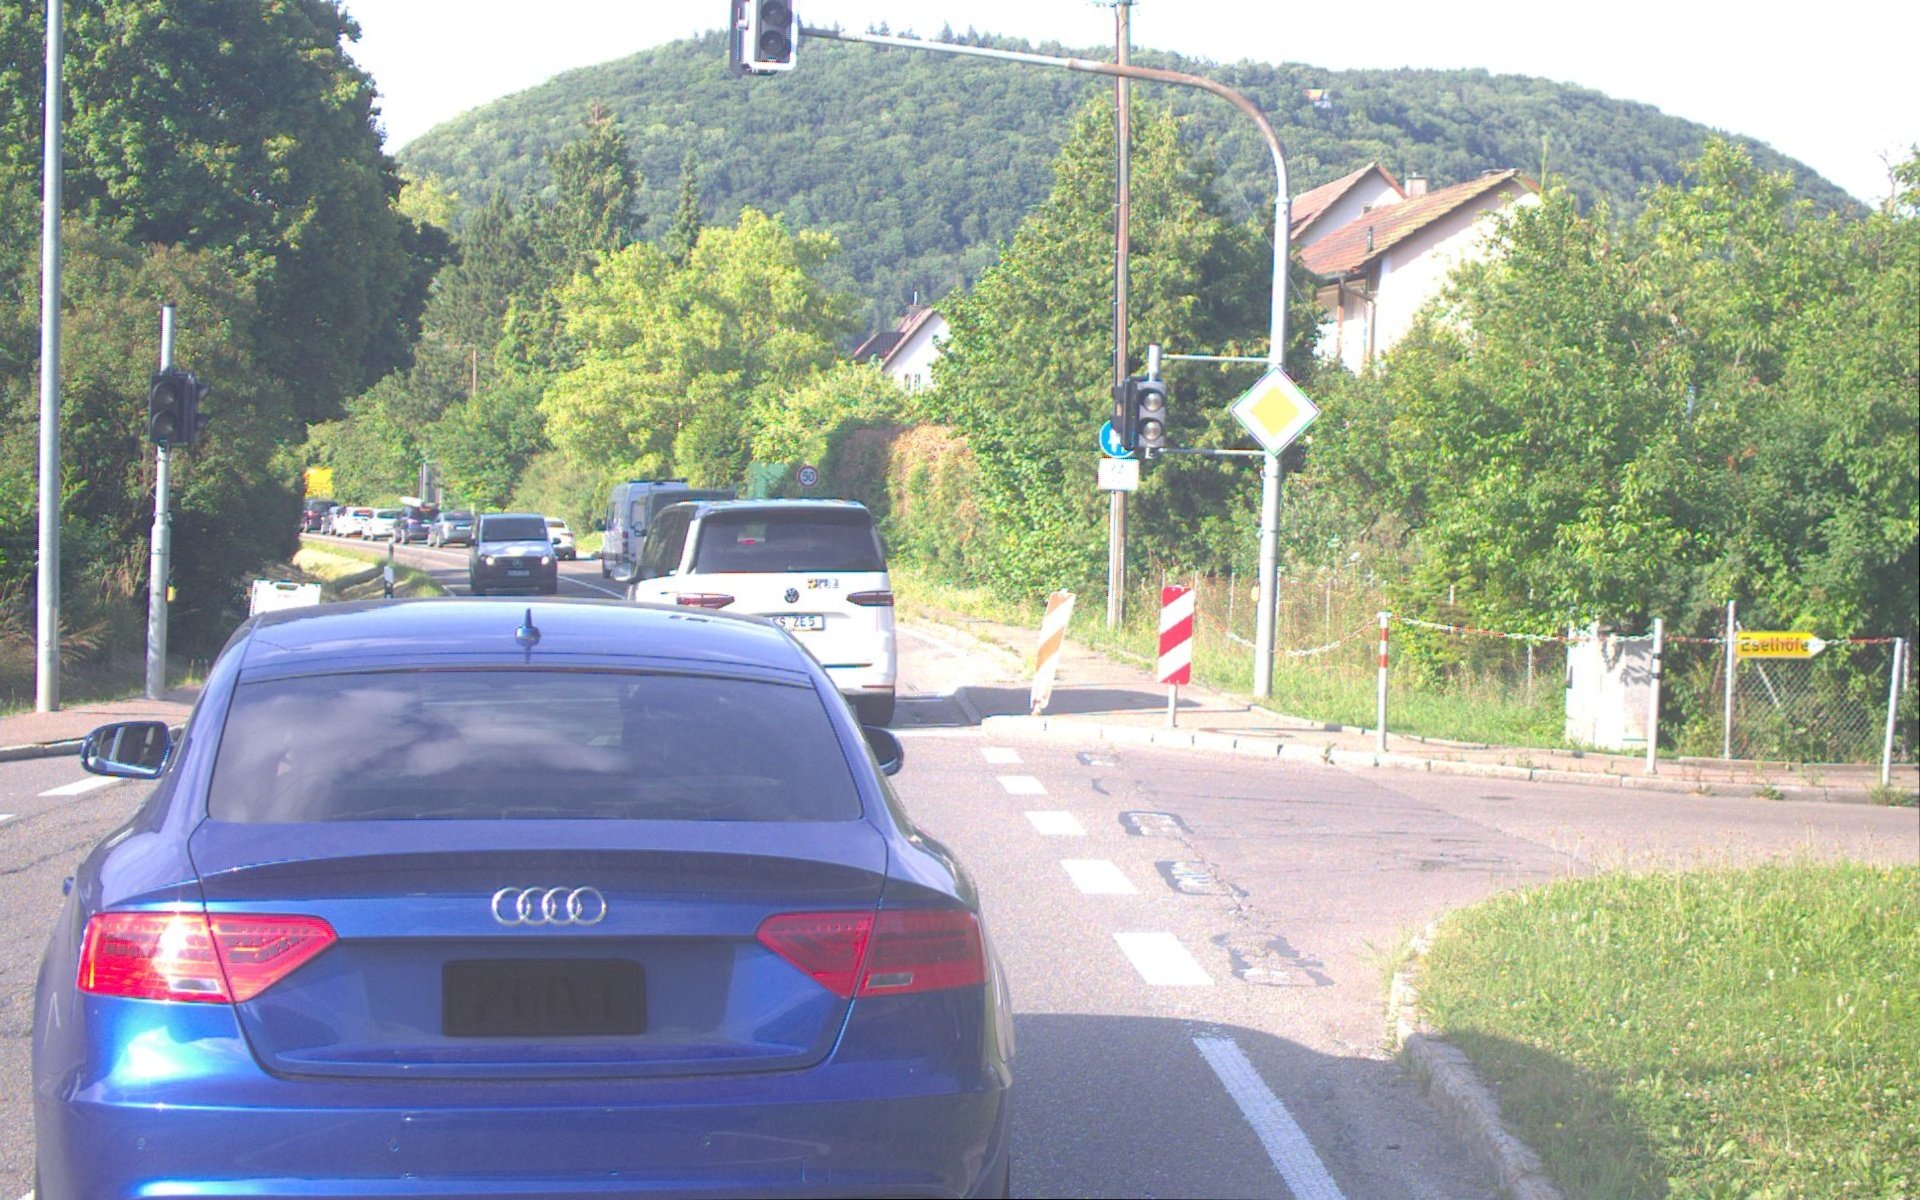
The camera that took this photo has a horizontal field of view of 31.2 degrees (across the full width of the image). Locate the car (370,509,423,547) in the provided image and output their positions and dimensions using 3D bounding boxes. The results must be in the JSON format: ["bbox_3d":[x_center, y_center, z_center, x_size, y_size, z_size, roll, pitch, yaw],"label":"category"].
[{"bbox_3d":[-25.667,-3.266,156.388,1.941,1.678,4.001,-1,1,-16],"label":"car"}]

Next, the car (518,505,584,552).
[{"bbox_3d":[-13.769,-2.404,115.569,1.819,1.546,4.001,0,1,-12],"label":"car"}]

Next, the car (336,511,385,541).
[{"bbox_3d":[-28.830,-3.554,165.230,1.941,1.419,4.001,0,2,-16],"label":"car"}]

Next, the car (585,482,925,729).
[{"bbox_3d":[-1.896,-0.026,30.002,1.993,1.870,4.873,2,2,-14],"label":"car"}]

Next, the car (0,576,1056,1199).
[{"bbox_3d":[-1.060,0.684,7.586,1.829,1.404,4.228,-1,1,-8],"label":"car"}]

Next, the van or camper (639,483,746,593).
[{"bbox_3d":[-6.045,-1.415,77.182,2.179,2.377,5.371,0,2,-6],"label":"van or camper"}]

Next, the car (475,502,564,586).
[{"bbox_3d":[-10.500,-1.370,81.698,1.993,1.897,5.255,-1,2,-8],"label":"car"}]

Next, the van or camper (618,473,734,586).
[{"bbox_3d":[-7.586,-1.893,91.115,2.414,2.894,6.133,0,2,-11],"label":"van or camper"}]

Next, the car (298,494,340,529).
[{"bbox_3d":[-33.117,-4.565,177.668,1.771,1.776,4.001,-1,1,-16],"label":"car"}]

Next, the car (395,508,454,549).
[{"bbox_3d":[-23.037,-3.077,147.847,2.040,1.678,4.002,0,2,-16],"label":"car"}]

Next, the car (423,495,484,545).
[{"bbox_3d":[-20.513,-3.255,139.107,1.993,2.006,4.002,0,2,-15],"label":"car"}]
